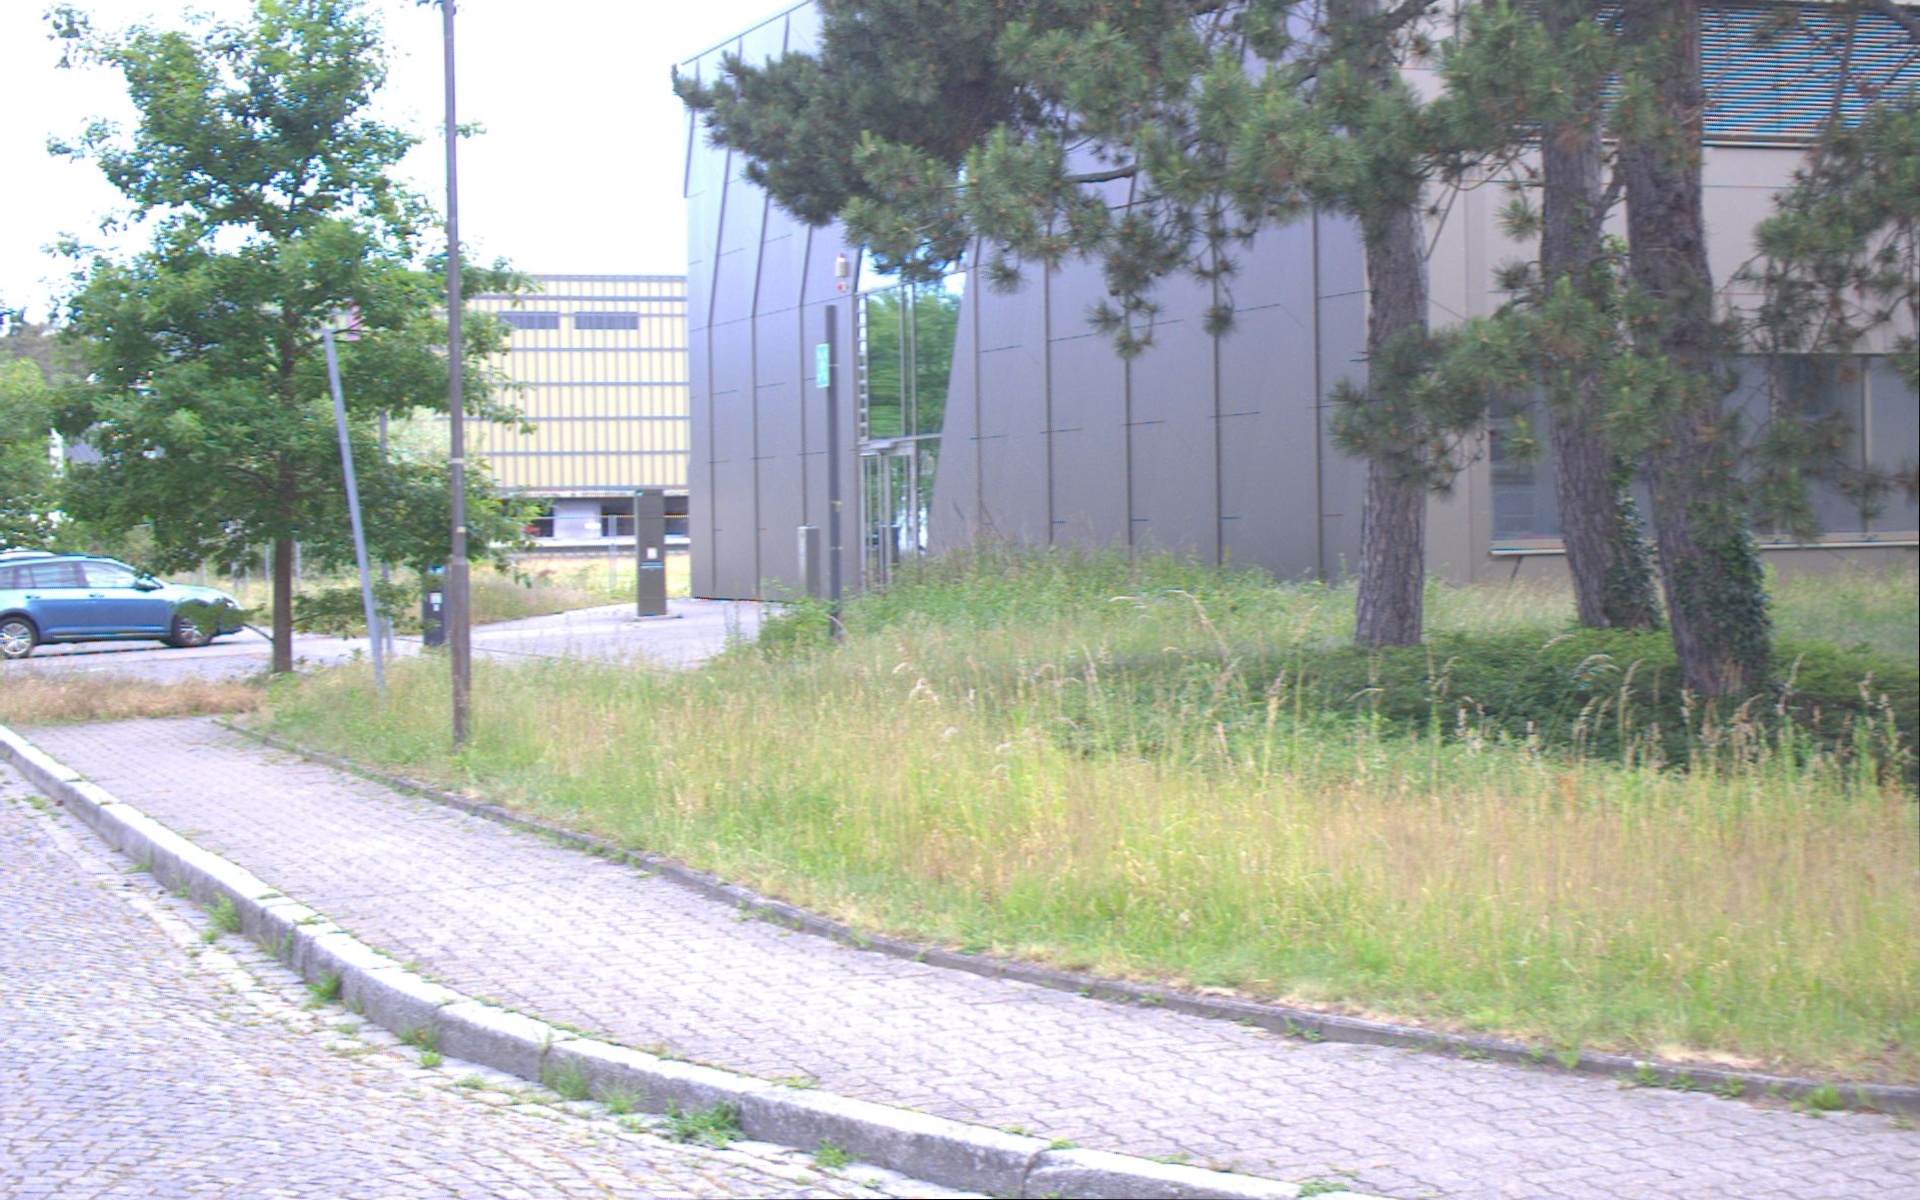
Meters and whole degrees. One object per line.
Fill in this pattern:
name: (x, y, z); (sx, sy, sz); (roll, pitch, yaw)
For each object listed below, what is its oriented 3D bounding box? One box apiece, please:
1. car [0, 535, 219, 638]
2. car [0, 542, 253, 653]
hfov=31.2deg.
car: (-14.924, -0.240, 58.784); (4.106, 1.567, 1.765); (-3, 2, -22)
car: (-13.056, -0.039, 51.533); (4.480, 1.457, 1.935); (-3, 2, -22)
